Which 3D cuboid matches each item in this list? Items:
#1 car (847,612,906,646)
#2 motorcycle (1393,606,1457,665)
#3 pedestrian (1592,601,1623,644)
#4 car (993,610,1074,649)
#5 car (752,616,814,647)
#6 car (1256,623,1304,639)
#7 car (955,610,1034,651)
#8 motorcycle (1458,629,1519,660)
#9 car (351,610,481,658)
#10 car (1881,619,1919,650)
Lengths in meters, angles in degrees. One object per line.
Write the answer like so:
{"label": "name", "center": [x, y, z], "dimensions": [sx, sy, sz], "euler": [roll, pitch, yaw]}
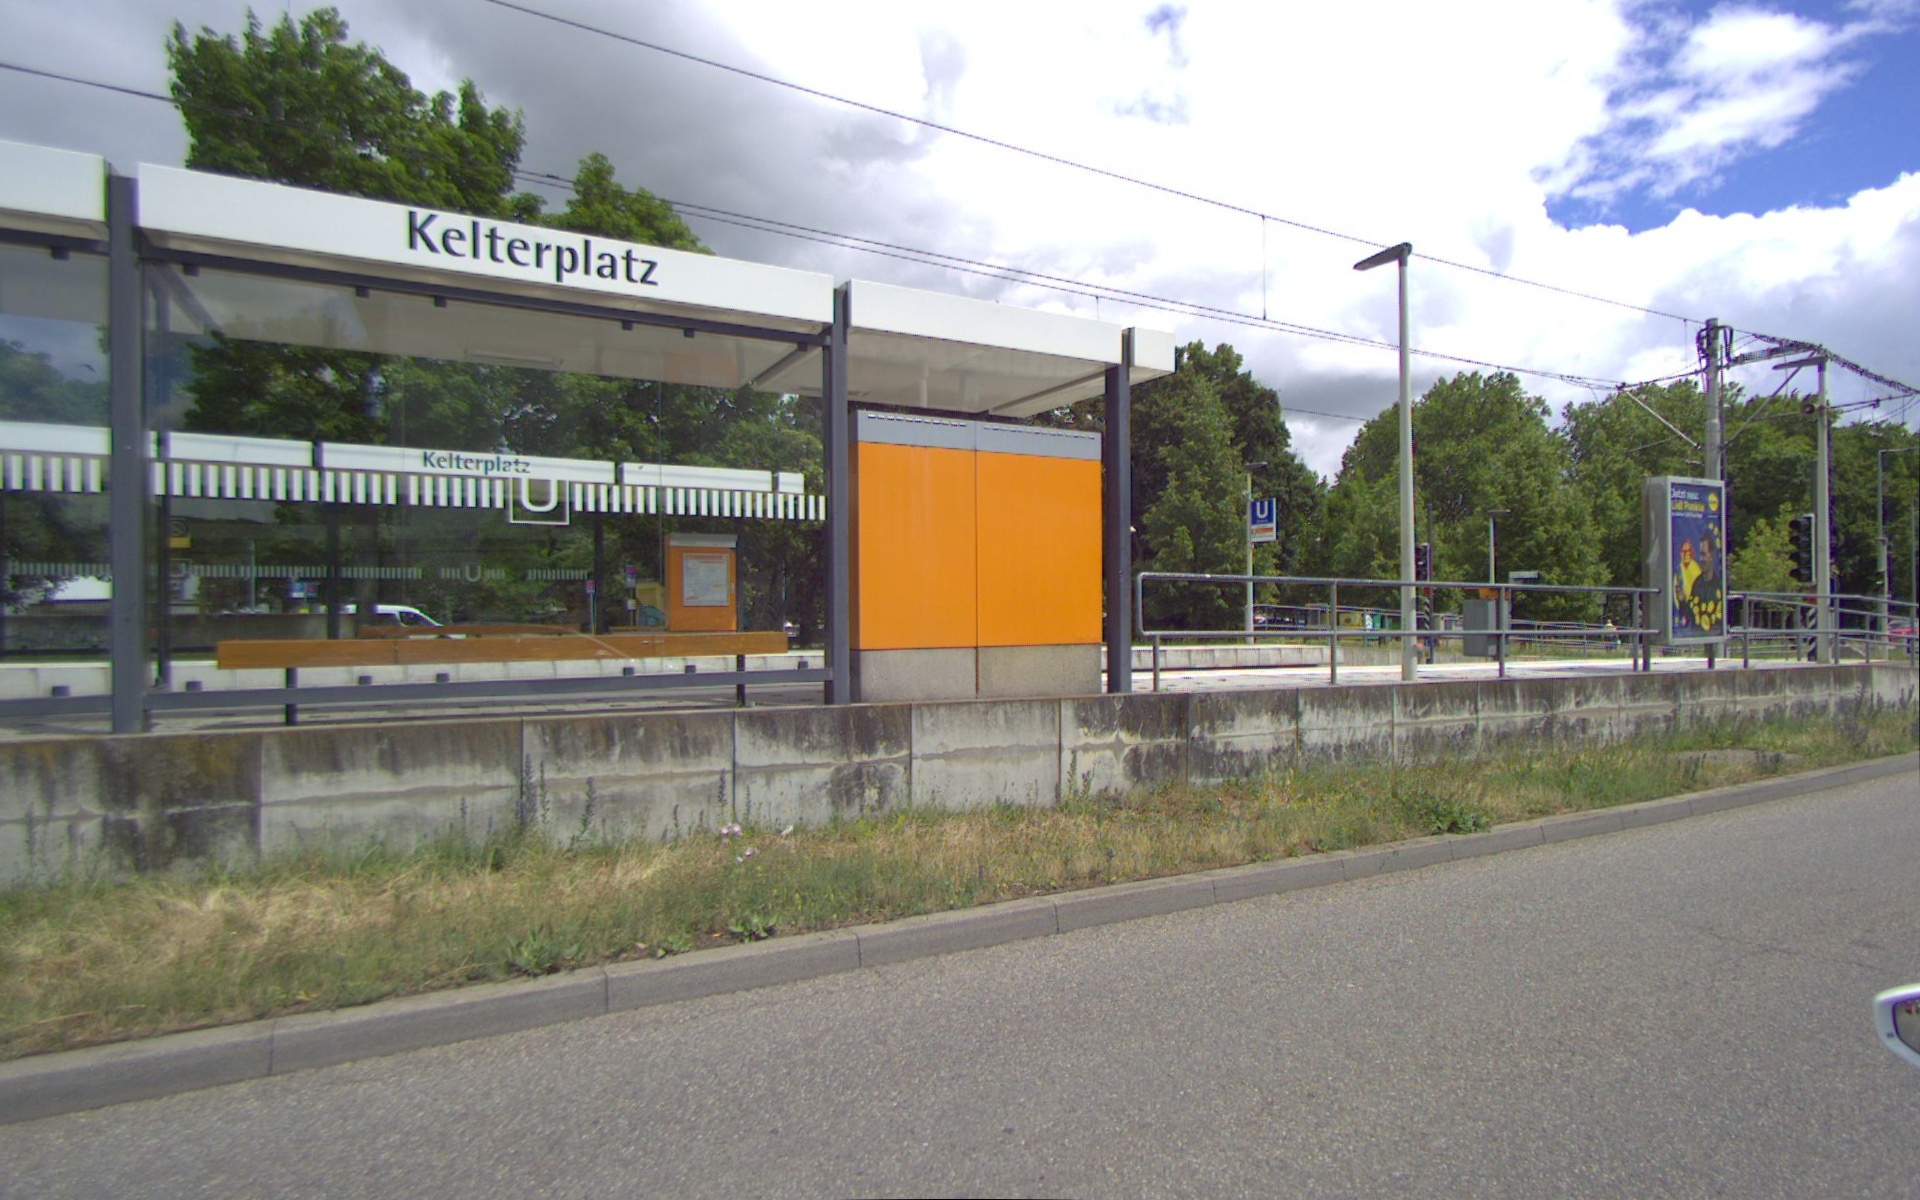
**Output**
{"label": "car", "center": [-4.613, 1.576, 55.043], "dimensions": [2.158, 1.751, 3.979], "euler": [-1, 0, -22]}
{"label": "motorcycle", "center": [16.196, 1.224, 34.986], "dimensions": [1.949, 2.040, 0.833], "euler": [0, -1, -15]}
{"label": "pedestrian", "center": [31.483, 1.071, 48.833], "dimensions": [0.807, 2.040, 0.962], "euler": [-1, 0, -10]}
{"label": "car", "center": [3.416, 1.351, 47.263], "dimensions": [1.951, 1.706, 3.970], "euler": [-1, 0, -29]}
{"label": "car", "center": [-9.489, 1.644, 53.653], "dimensions": [1.947, 1.511, 3.799], "euler": [-1, 0, -32]}
{"label": "car", "center": [23.085, 2.247, 72.506], "dimensions": [3.043, 1.096, 1.417], "euler": [-1, 0, 3]}
{"label": "car", "center": [1.542, 1.367, 45.955], "dimensions": [2.028, 1.728, 3.620], "euler": [-1, 0, -29]}
{"label": "motorcycle", "center": [19.150, 1.609, 36.406], "dimensions": [2.183, 1.095, 0.728], "euler": [0, -1, -22]}
{"label": "car", "center": [-21.089, 1.274, 39.134], "dimensions": [4.349, 1.701, 1.935], "euler": [-1, 0, -27]}
{"label": "car", "center": [47.809, 1.712, 50.566], "dimensions": [2.941, 1.523, 1.706], "euler": [0, -1, -39]}
